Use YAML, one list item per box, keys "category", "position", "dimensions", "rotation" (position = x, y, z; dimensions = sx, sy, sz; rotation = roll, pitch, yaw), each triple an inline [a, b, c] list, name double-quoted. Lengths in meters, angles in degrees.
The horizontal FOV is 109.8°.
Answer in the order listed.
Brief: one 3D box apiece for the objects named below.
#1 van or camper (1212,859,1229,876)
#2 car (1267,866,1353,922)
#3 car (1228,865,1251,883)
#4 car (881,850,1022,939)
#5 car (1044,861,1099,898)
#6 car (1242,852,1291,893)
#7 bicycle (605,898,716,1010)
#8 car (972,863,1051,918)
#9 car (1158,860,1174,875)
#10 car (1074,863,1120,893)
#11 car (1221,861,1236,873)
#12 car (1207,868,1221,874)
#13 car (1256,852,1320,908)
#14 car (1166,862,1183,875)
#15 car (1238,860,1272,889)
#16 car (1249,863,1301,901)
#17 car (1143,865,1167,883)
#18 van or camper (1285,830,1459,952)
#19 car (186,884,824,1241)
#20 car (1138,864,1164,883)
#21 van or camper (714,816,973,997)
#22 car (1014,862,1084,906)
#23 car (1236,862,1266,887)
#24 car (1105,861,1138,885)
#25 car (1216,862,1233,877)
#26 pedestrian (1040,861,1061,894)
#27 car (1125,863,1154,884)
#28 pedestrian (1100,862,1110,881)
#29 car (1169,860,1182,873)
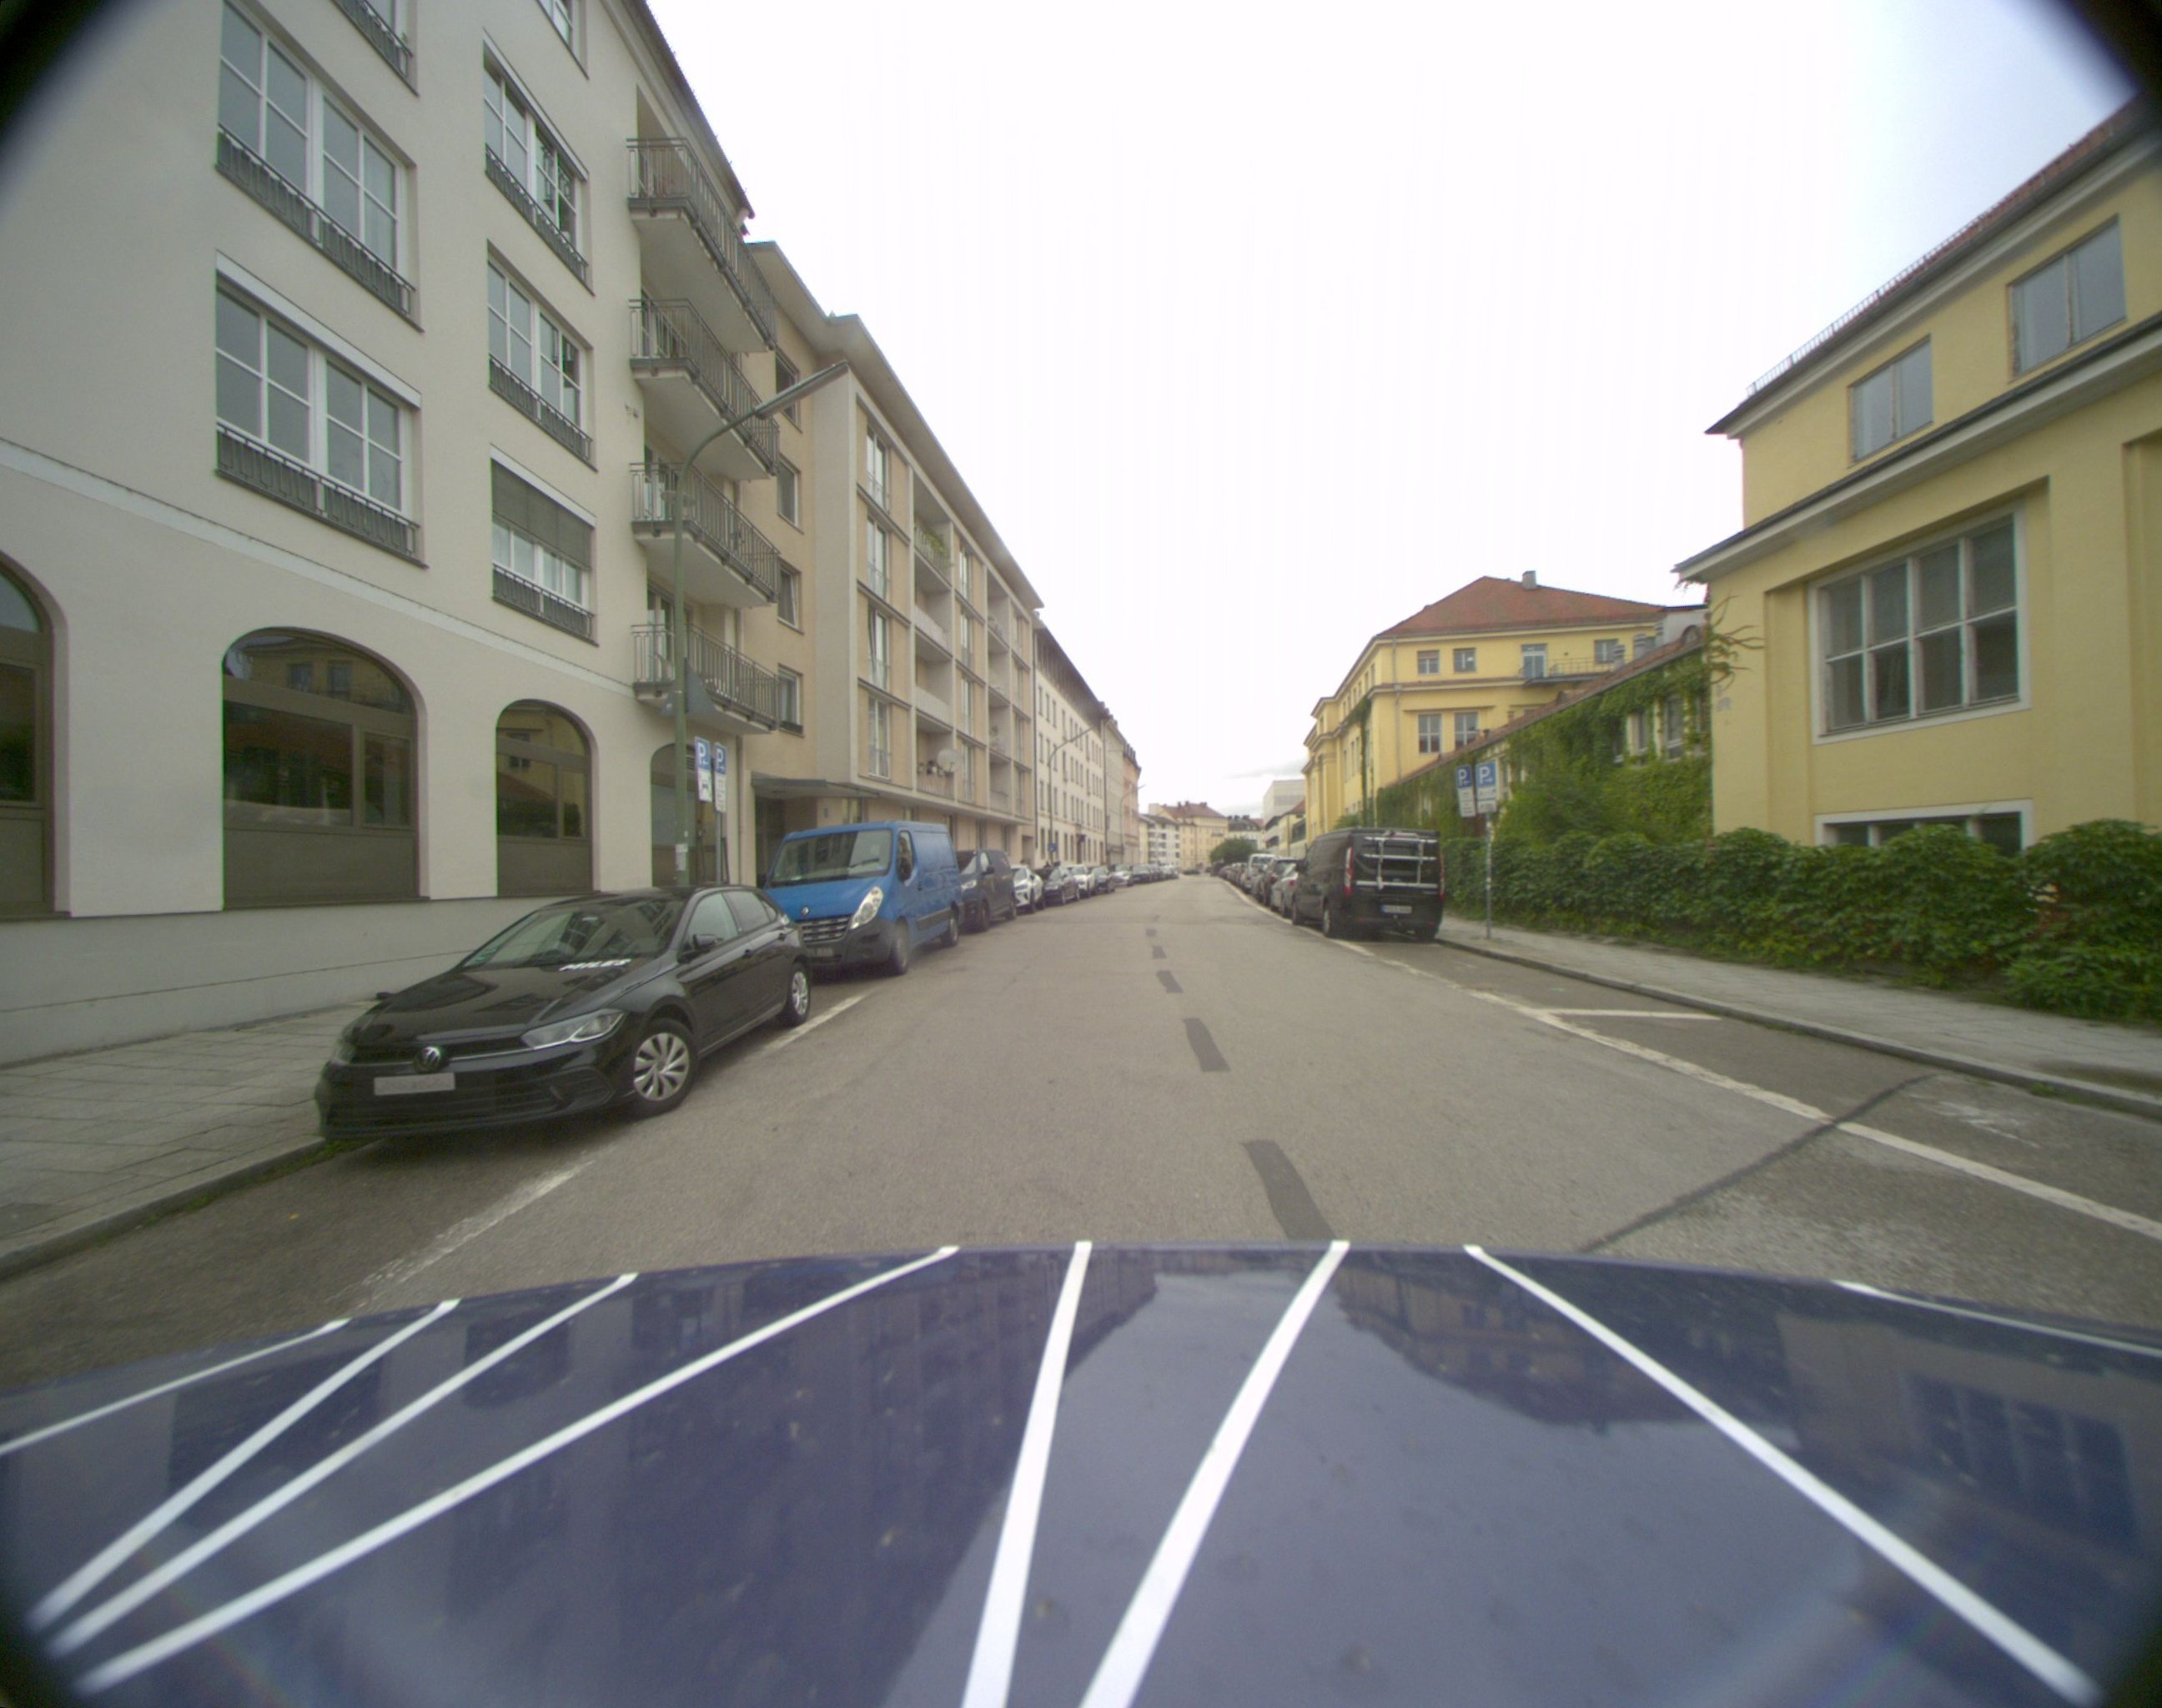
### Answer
- category: "van or camper"
  position: [24.573, 2.371, 133.853]
  dimensions: [2.140, 2.791, 5.575]
  rotation: [1, -1, 3]
- category: "car"
  position: [6.142, 1.022, 20.790]
  dimensions: [1.623, 1.370, 4.075]
  rotation: [-1, -1, 8]
- category: "car"
  position: [14.575, 1.819, 70.221]
  dimensions: [1.683, 1.624, 4.360]
  rotation: [-1, -1, 7]
- category: "car"
  position: [-2.826, 0.849, 17.863]
  dimensions: [1.968, 1.805, 4.938]
  rotation: [-1, 0, 6]
- category: "car"
  position: [-0.330, 1.081, 33.239]
  dimensions: [1.742, 1.490, 4.222]
  rotation: [-1, -1, 8]
- category: "car"
  position: [8.809, 0.850, 36.382]
  dimensions: [1.997, 1.864, 4.762]
  rotation: [-1, 0, 11]
- category: "bicycle"
  position: [-5.182, 1.186, 9.478]
  dimensions: [0.667, 1.181, 1.588]
  rotation: [-1, 0, -8]
- category: "car"
  position: [-2.060, 1.049, 23.626]
  dimensions: [1.743, 1.528, 4.275]
  rotation: [-1, 0, 4]
- category: "car"
  position: [9.300, 1.435, 82.870]
  dimensions: [1.695, 1.574, 4.086]
  rotation: [-1, 0, 8]
- category: "car"
  position: [0.871, 1.178, 38.698]
  dimensions: [1.799, 1.412, 4.486]
  rotation: [-1, -1, 8]
- category: "car"
  position: [19.035, 1.684, 97.945]
  dimensions: [1.678, 1.557, 4.000]
  rotation: [-1, -1, 8]
- category: "car"
  position: [39.328, 5.049, 224.588]
  dimensions: [3.993, 1.848, 2.002]
  rotation: [0, -1, 10]
- category: "car"
  position: [6.966, 0.845, 25.916]
  dimensions: [1.622, 1.719, 4.428]
  rotation: [0, -1, 9]
- category: "car"
  position: [10.999, 1.673, 89.104]
  dimensions: [1.695, 1.442, 4.087]
  rotation: [-1, -1, 12]
- category: "car"
  position: [9.594, 1.107, 42.008]
  dimensions: [1.581, 1.483, 3.733]
  rotation: [-1, 0, 9]
- category: "car"
  position: [7.900, 1.106, 31.234]
  dimensions: [1.704, 1.414, 4.428]
  rotation: [-1, 0, 10]
- category: "car"
  position: [6.778, 1.794, 69.038]
  dimensions: [1.859, 1.535, 4.820]
  rotation: [-1, -1, 9]
- category: "van or camper"
  position: [5.624, 0.654, 15.426]
  dimensions: [1.965, 2.053, 4.755]
  rotation: [1, 0, 4]
- category: "car"
  position: [-3.517, 1.110, 5.744]
  dimensions: [1.708, 1.509, 3.958]
  rotation: [-5, 0, 0]
- category: "car"
  position: [5.957, 1.644, 64.232]
  dimensions: [1.859, 1.535, 4.159]
  rotation: [-1, -1, 9]
- category: "van or camper"
  position: [-3.375, 0.685, 12.247]
  dimensions: [2.065, 2.218, 5.440]
  rotation: [-2, -1, 4]
- category: "car"
  position: [-1.120, 1.070, 28.703]
  dimensions: [1.742, 1.490, 4.499]
  rotation: [-1, 0, 9]
- category: "car"
  position: [10.409, 1.252, 46.684]
  dimensions: [1.581, 1.447, 3.907]
  rotation: [-1, 0, 9]
- category: "car"
  position: [2.694, 1.206, 49.744]
  dimensions: [1.674, 1.525, 3.884]
  rotation: [-1, 0, 10]
- category: "car"
  position: [15.078, 1.582, 80.151]
  dimensions: [1.683, 1.487, 3.989]
  rotation: [1, 0, 10]
- category: "pedestrian"
  position: [-1.597, 1.213, 40.046]
  dimensions: [0.899, 1.677, 1.320]
  rotation: [0, 0, 9]
- category: "car"
  position: [4.579, 1.505, 59.178]
  dimensions: [1.859, 1.535, 4.820]
  rotation: [-1, -1, 9]
- category: "pedestrian"
  position: [1.994, 1.463, 64.100]
  dimensions: [0.735, 1.616, 0.829]
  rotation: [0, 0, 11]
- category: "car"
  position: [13.055, 1.727, 105.140]
  dimensions: [1.606, 1.632, 3.634]
  rotation: [-1, 0, 9]
